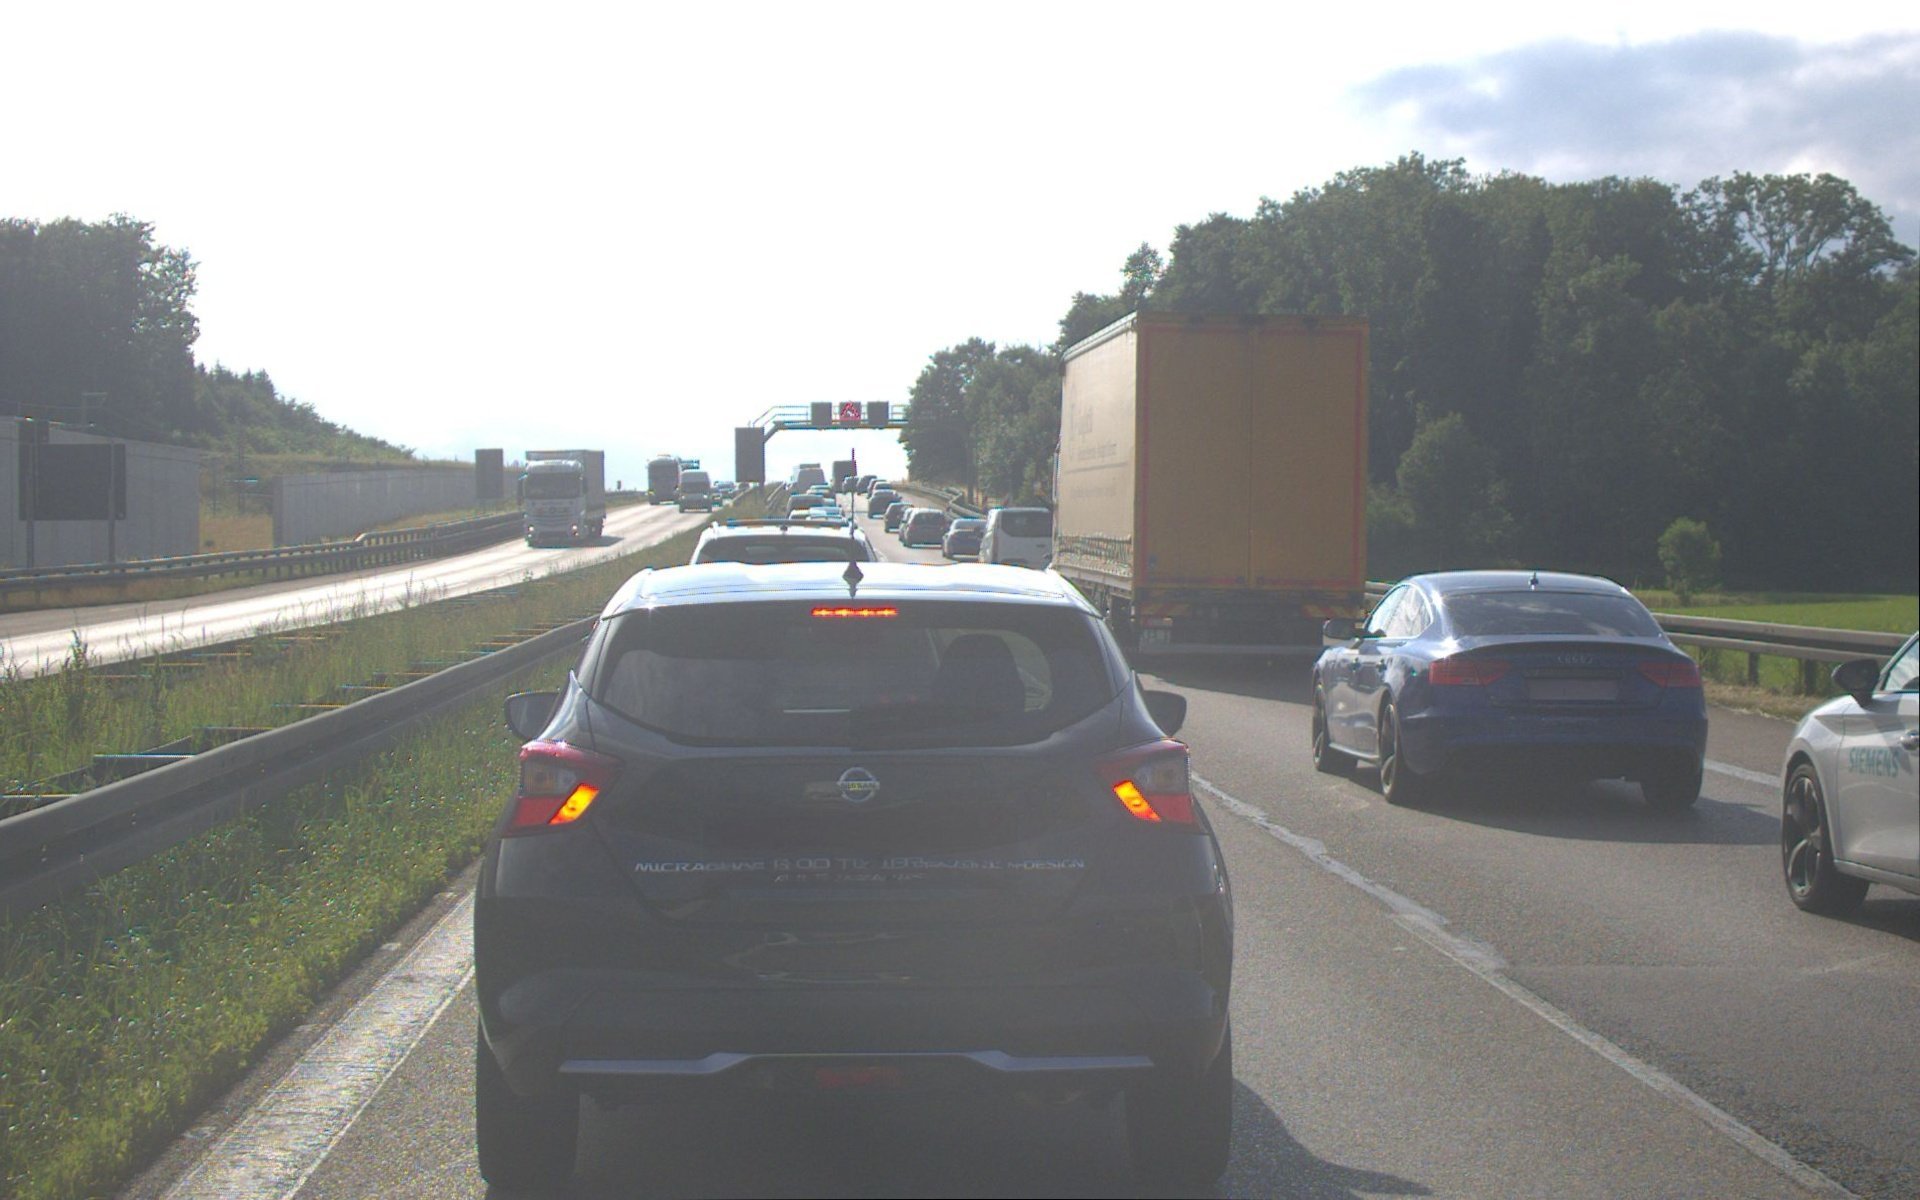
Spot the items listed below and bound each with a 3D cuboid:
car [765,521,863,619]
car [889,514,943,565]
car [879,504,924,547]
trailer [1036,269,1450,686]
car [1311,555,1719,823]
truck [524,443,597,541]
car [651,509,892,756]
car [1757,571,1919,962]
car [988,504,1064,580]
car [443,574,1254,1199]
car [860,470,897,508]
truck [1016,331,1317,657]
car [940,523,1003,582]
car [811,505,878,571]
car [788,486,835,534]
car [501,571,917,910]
[{"bbox_3d":[-3.131,-0.640,73.353,1.993,2.007,4.001,1,1,-3],"label":"car"},{"bbox_3d":[-1.810,-2.464,140.315,1.993,2.007,4.001,1,1,-3],"label":"car"},{"bbox_3d":[-2.827,-3.549,164.678,1.993,2.007,4.001,1,1,-3],"label":"car"},{"bbox_3d":[3.195,-1.384,43.418,3.548,4.442,12.723,1,1,-3],"label":"trailer"},{"bbox_3d":[3.299,0.479,21.208,1.747,1.470,4.147,1,0,-1],"label":"car"},{"bbox_3d":[-17.335,-4.640,149.622,2.637,4.084,7.003,1,1,-3],"label":"truck"},{"bbox_3d":[-1.365,0.212,26.002,1.674,1.720,3.596,1,0,-1],"label":"car"},{"bbox_3d":[4.355,0.624,12.660,1.620,1.440,4.147,1,0,-4],"label":"car"},{"bbox_3d":[1.529,-1.357,81.017,1.667,1.748,3.327,1,1,-1],"label":"car"},{"bbox_3d":[-0.256,0.656,9.000,1.710,1.421,3.378,1,0,-1],"label":"car"},{"bbox_3d":[-4.665,-6.331,196.326,1.993,2.007,4.001,1,1,-3],"label":"car"},{"bbox_3d":[2.860,-1.474,49.948,3.581,4.364,6.689,1,1,-3],"label":"truck"},{"bbox_3d":[0.406,-1.687,122.515,1.993,2.007,4.001,1,1,-3],"label":"car"},{"bbox_3d":[-3.615,-1.911,107.040,1.993,2.007,4.001,1,1,-3],"label":"car"},{"bbox_3d":[-6.578,-3.969,152.098,1.993,2.007,4.001,1,1,-3],"label":"car"},{"bbox_3d":[-1.060,0.558,15.797,1.674,1.362,3.596,1,0,-1],"label":"car"}]
